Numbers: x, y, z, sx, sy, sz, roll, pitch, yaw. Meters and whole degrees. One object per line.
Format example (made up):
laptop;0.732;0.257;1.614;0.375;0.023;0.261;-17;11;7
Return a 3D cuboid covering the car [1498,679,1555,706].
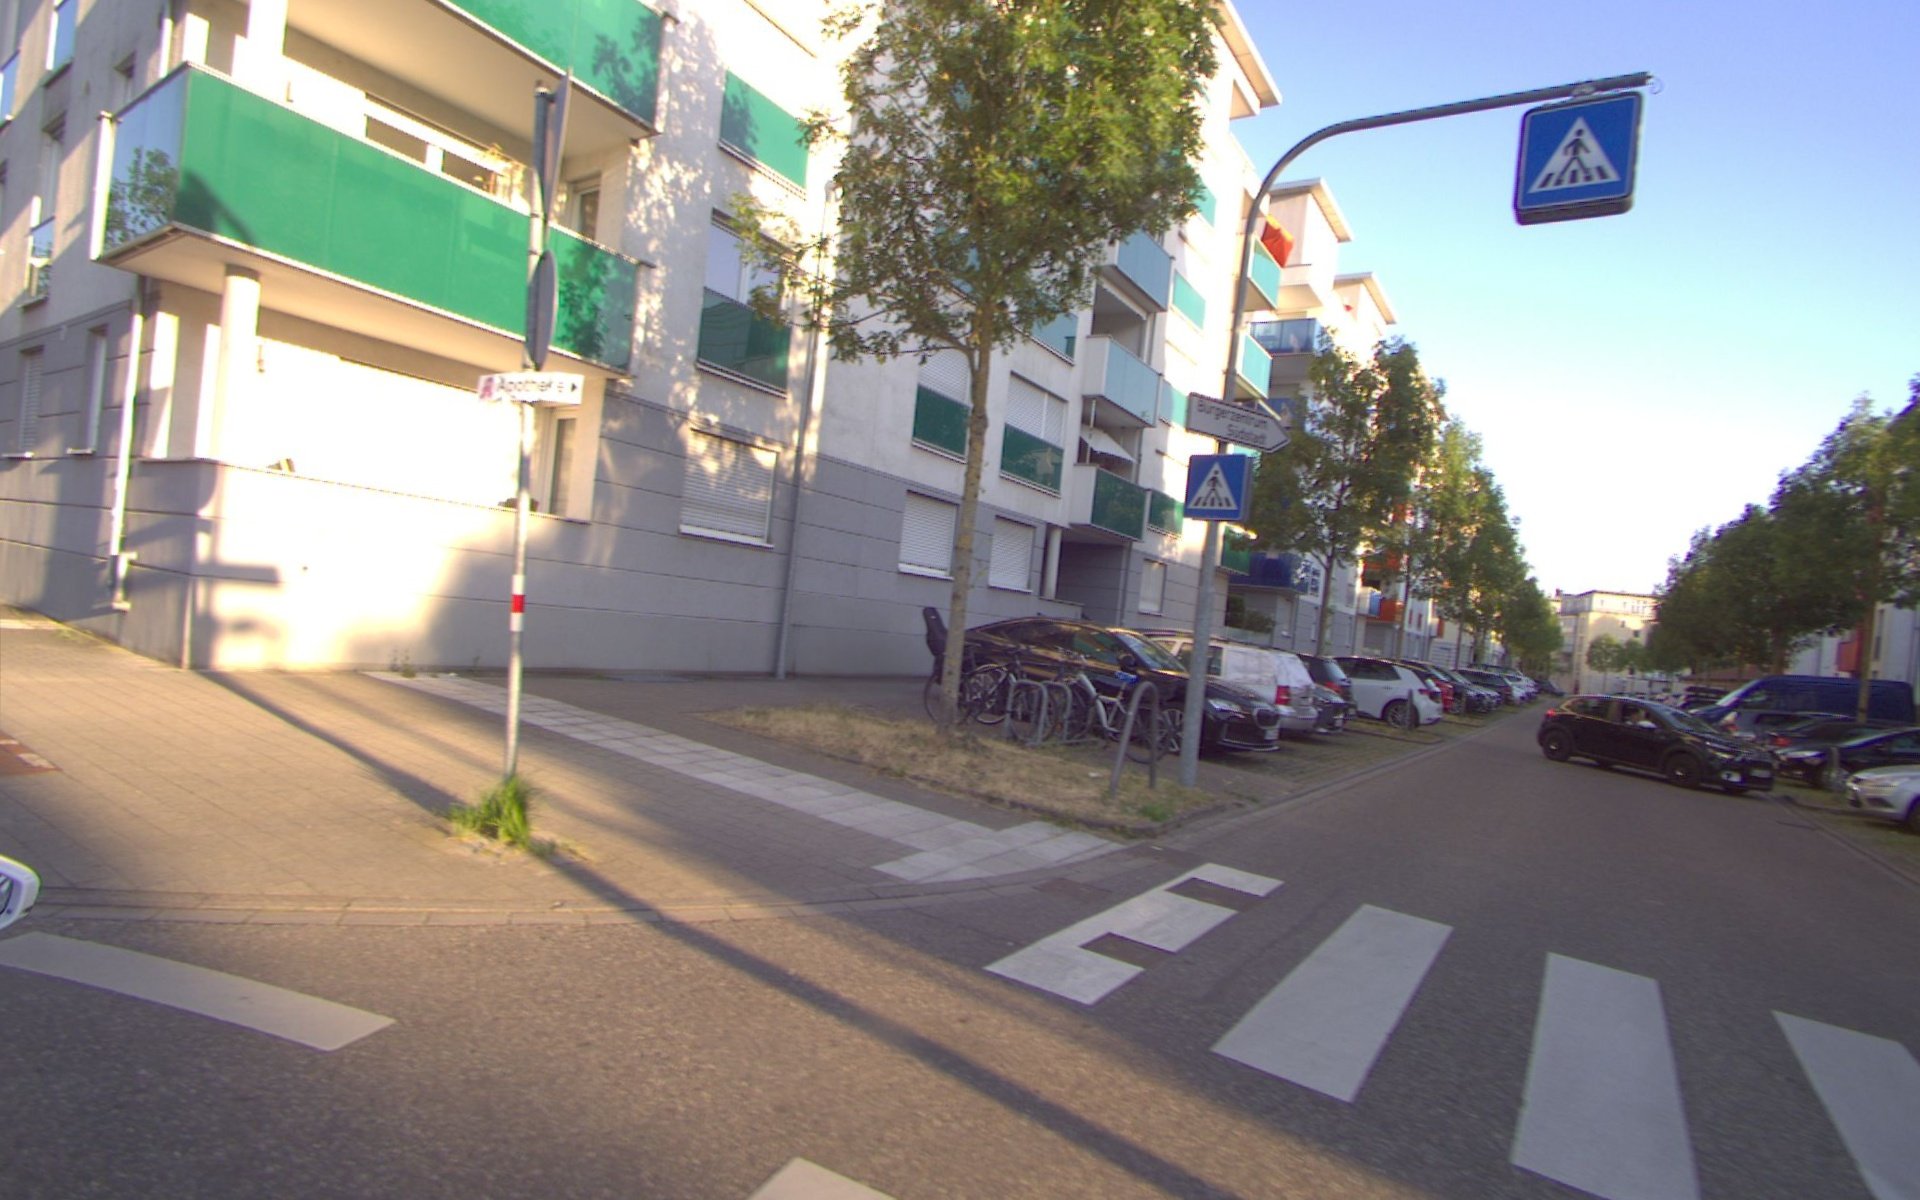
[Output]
car;50.566;8.240;89.825;4.186;1.659;1.688;9;1;35

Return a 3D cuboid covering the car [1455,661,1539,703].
car;32.934;5.025;61.766;4.186;1.801;1.688;9;1;35

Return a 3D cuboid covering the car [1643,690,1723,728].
car;49.397;7.415;68.853;4.186;1.808;1.688;9;1;35

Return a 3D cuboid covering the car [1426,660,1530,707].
car;25.373;4.080;49.340;4.186;1.555;1.688;9;1;35

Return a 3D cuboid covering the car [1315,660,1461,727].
car;13.811;2.978;32.500;4.033;1.378;1.664;9;1;29

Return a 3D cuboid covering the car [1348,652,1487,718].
car;15.551;2.859;34.249;4.033;1.527;1.664;9;1;29

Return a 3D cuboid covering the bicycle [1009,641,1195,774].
bicycle;1.514;1.127;10.876;1.808;1.085;0.473;9;1;29

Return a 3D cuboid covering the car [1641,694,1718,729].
car;50.602;7.822;70.846;4.186;1.659;1.688;9;1;35

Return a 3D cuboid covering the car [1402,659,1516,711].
car;22.216;3.763;44.856;4.186;1.555;1.688;9;1;35

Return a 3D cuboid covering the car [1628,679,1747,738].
car;34.108;5.045;47.319;4.184;1.954;1.689;9;1;32

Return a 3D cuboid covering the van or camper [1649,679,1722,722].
van or camper;55.486;7.683;77.047;4.185;2.566;1.756;9;1;34

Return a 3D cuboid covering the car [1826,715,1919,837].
car;15.494;2.708;14.136;4.682;1.604;1.756;4;-2;29

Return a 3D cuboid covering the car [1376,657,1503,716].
car;18.439;3.299;38.716;4.181;1.527;1.749;9;1;29

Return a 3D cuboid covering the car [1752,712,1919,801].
car;20.438;3.553;22.573;3.854;1.534;1.722;5;-1;29

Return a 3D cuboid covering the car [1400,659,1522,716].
car;20.421;3.548;41.078;4.181;1.527;1.749;9;1;29

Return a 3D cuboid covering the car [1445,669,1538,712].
car;29.088;4.946;55.052;4.186;1.555;1.688;9;1;35

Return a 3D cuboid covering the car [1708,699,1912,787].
car;24.390;4.065;29.079;4.033;1.645;1.722;9;1;29

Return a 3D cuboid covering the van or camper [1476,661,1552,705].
van or camper;37.488;5.584;68.130;4.184;2.238;1.689;9;1;33

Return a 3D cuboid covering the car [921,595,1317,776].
car;2.037;1.049;13.642;4.813;1.475;1.932;9;1;35

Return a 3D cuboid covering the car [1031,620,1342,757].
car;3.478;1.325;15.851;4.349;1.526;1.737;5;-1;37

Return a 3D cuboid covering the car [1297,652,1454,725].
car;11.888;2.489;28.801;3.853;1.361;1.722;9;1;29

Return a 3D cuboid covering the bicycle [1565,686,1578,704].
bicycle;48.491;7.551;79.802;0.759;1.282;1.778;6;-1;31

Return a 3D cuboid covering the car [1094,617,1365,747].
car;4.795;1.411;18.109;4.226;1.512;1.739;9;1;33

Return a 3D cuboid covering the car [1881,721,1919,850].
car;14.287;2.509;11.936;4.718;1.573;1.705;3;-2;37

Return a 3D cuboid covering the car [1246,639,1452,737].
car;9.238;2.055;23.974;4.223;1.526;1.683;9;1;30

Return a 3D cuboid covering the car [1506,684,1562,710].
car;52.681;8.907;92.398;4.186;1.635;1.688;9;1;35

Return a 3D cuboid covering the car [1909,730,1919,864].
car;12.664;2.315;9.648;4.838;1.496;1.708;4;-2;31

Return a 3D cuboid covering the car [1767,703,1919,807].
car;18.958;3.187;20.248;3.854;1.731;1.722;5;-1;29

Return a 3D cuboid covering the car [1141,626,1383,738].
car;6.024;1.620;20.382;4.236;1.476;1.735;9;1;42

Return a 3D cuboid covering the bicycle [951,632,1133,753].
bicycle;0.942;1.062;11.862;2.000;1.059;0.473;9;1;29

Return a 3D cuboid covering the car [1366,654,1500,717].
car;17.254;3.089;36.721;4.181;1.527;1.749;9;1;29

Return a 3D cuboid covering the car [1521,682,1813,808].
car;13.345;2.682;19.317;1.755;1.480;4.155;8;0;-22

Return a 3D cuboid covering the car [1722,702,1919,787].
car;23.024;3.807;26.792;4.034;1.645;1.722;5;-1;29

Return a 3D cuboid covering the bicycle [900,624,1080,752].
bicycle;0.312;0.930;10.917;1.762;1.054;0.566;9;1;29

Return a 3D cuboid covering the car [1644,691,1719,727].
car;52.148;7.890;72.822;4.186;1.808;1.688;9;1;35

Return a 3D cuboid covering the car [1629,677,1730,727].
car;39.453;5.590;55.287;4.184;1.954;1.689;9;1;32

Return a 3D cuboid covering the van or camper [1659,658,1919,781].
van or camper;27.309;3.851;33.433;6.210;3.124;2.439;5;-1;29

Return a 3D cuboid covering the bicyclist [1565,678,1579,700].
bicyclist;48.601;7.052;79.871;0.755;1.647;0.661;6;0;32
